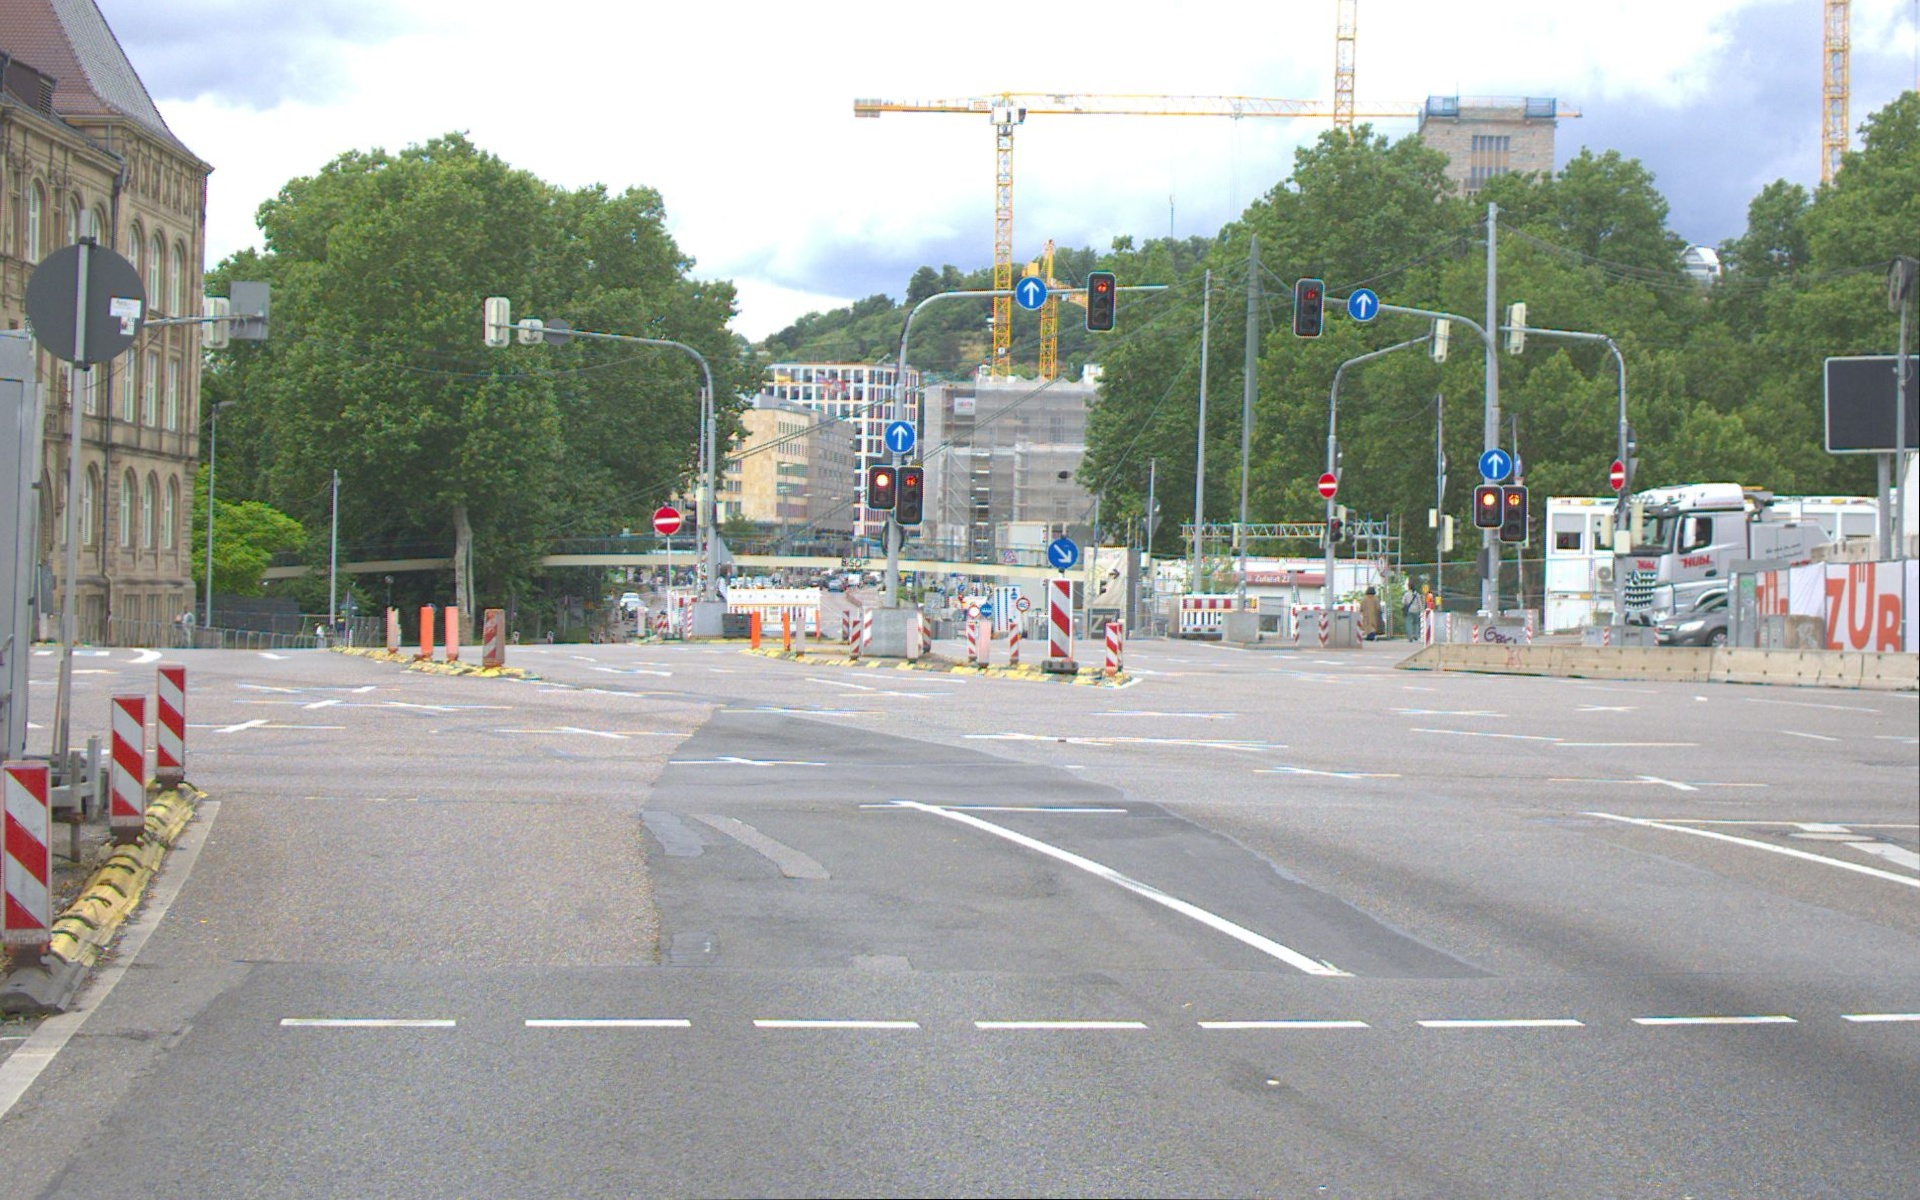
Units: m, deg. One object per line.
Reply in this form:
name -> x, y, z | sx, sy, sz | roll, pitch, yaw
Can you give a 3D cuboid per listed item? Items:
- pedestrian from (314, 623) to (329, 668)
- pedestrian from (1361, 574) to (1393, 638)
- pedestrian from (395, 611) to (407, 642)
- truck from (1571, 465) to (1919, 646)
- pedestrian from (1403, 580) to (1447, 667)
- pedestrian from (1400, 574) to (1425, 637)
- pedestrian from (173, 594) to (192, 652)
pedestrian -> -28.649, 2.036, 154.189 | 0.524, 2.007, 0.567 | 1, 1, 0
pedestrian -> 11.281, 0.157, 92.994 | 0.729, 1.683, 0.678 | 1, 1, -1
pedestrian -> -28.693, 1.371, 176.337 | 0.536, 1.587, 0.516 | 1, 1, -4
truck -> 21.356, -0.994, 82.000 | 13.022, 4.027, 3.952 | 1, 1, -20
pedestrian -> 9.130, 0.458, 67.484 | 0.729, 1.683, 0.678 | 1, 1, -1
pedestrian -> 12.260, 0.145, 93.072 | 0.566, 1.683, 0.472 | 1, 1, -1
pedestrian -> -26.892, 0.789, 118.930 | 0.524, 2.007, 0.567 | 1, 1, 0
